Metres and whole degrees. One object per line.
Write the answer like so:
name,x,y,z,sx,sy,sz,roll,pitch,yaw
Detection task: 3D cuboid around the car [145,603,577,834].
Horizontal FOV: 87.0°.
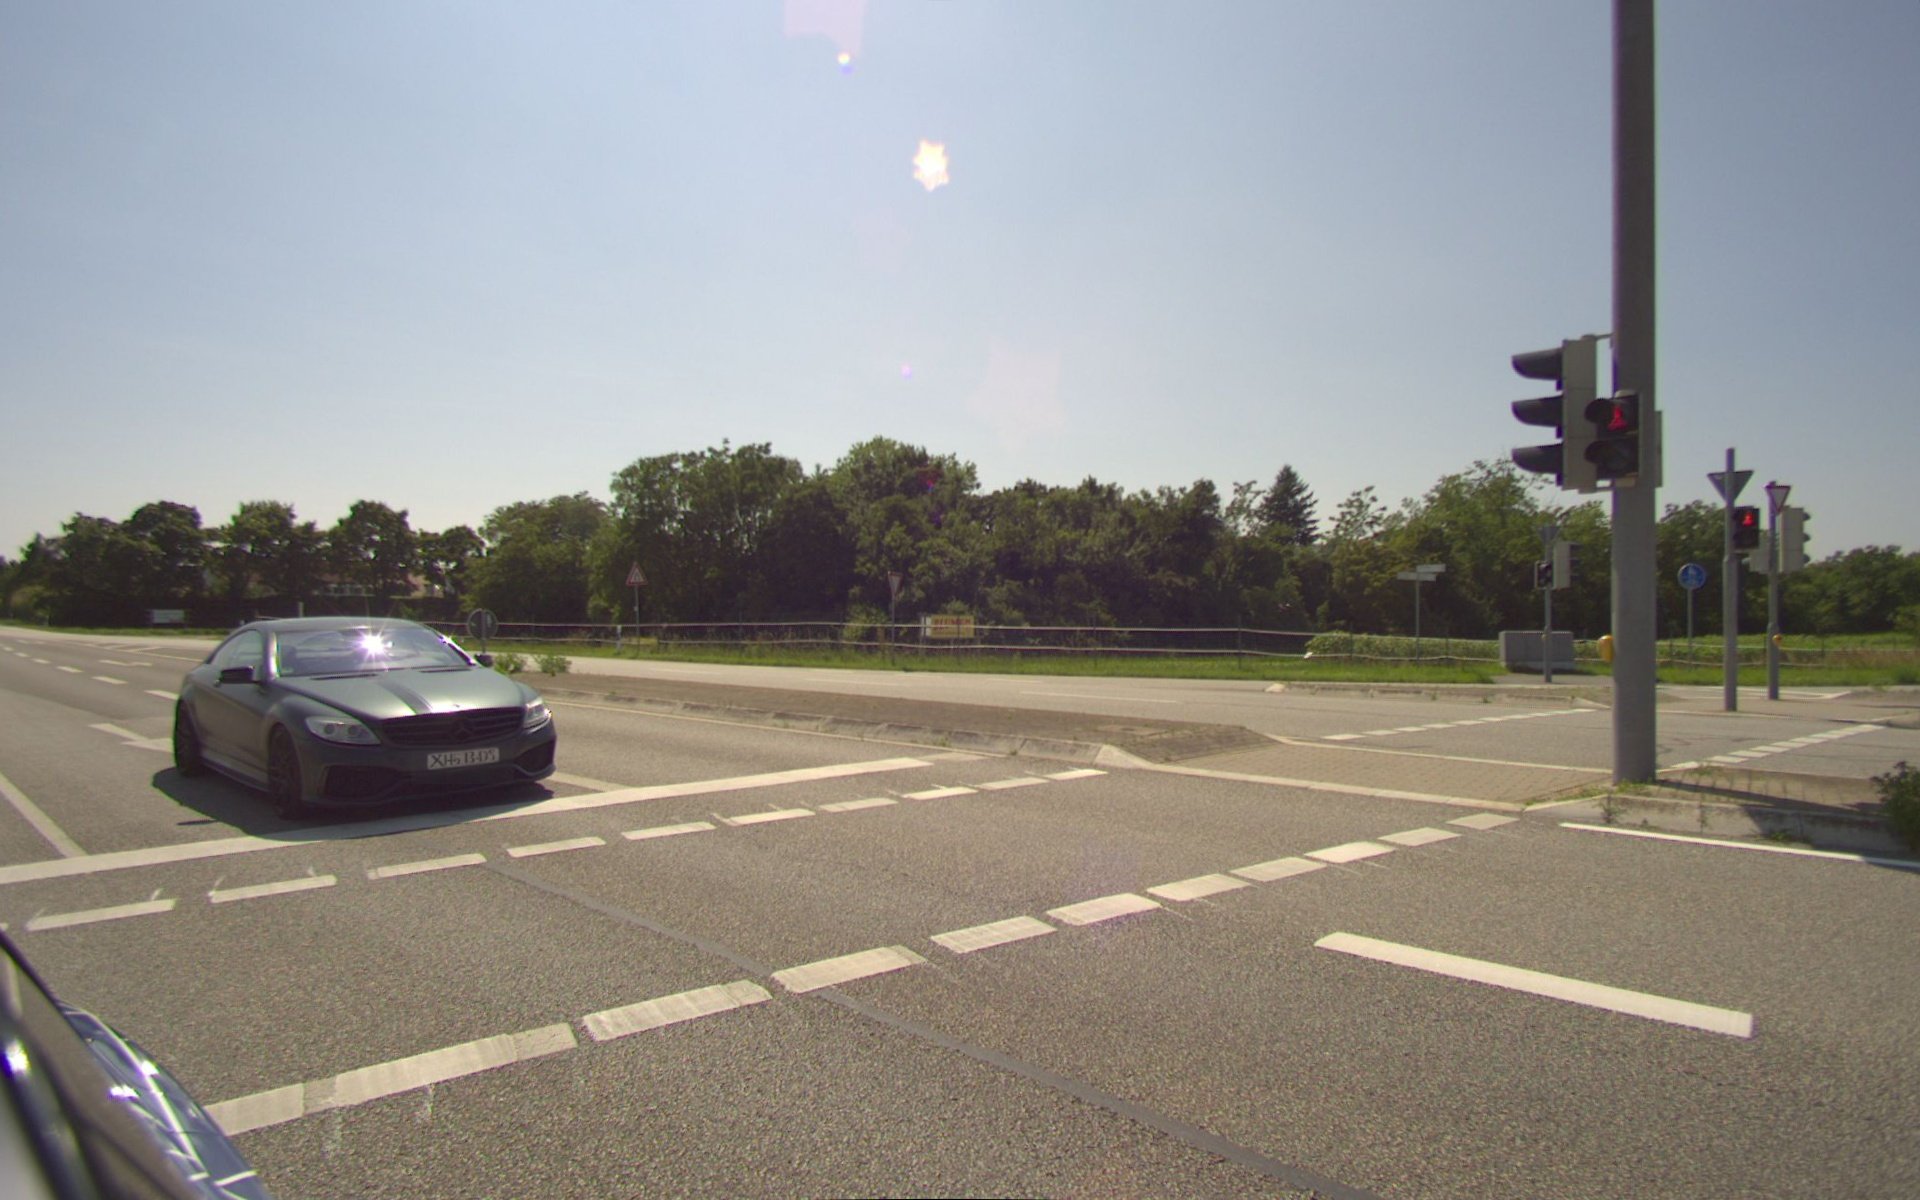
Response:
car,-5.397,0.785,8.784,4.874,1.461,1.792,-1,0,41
